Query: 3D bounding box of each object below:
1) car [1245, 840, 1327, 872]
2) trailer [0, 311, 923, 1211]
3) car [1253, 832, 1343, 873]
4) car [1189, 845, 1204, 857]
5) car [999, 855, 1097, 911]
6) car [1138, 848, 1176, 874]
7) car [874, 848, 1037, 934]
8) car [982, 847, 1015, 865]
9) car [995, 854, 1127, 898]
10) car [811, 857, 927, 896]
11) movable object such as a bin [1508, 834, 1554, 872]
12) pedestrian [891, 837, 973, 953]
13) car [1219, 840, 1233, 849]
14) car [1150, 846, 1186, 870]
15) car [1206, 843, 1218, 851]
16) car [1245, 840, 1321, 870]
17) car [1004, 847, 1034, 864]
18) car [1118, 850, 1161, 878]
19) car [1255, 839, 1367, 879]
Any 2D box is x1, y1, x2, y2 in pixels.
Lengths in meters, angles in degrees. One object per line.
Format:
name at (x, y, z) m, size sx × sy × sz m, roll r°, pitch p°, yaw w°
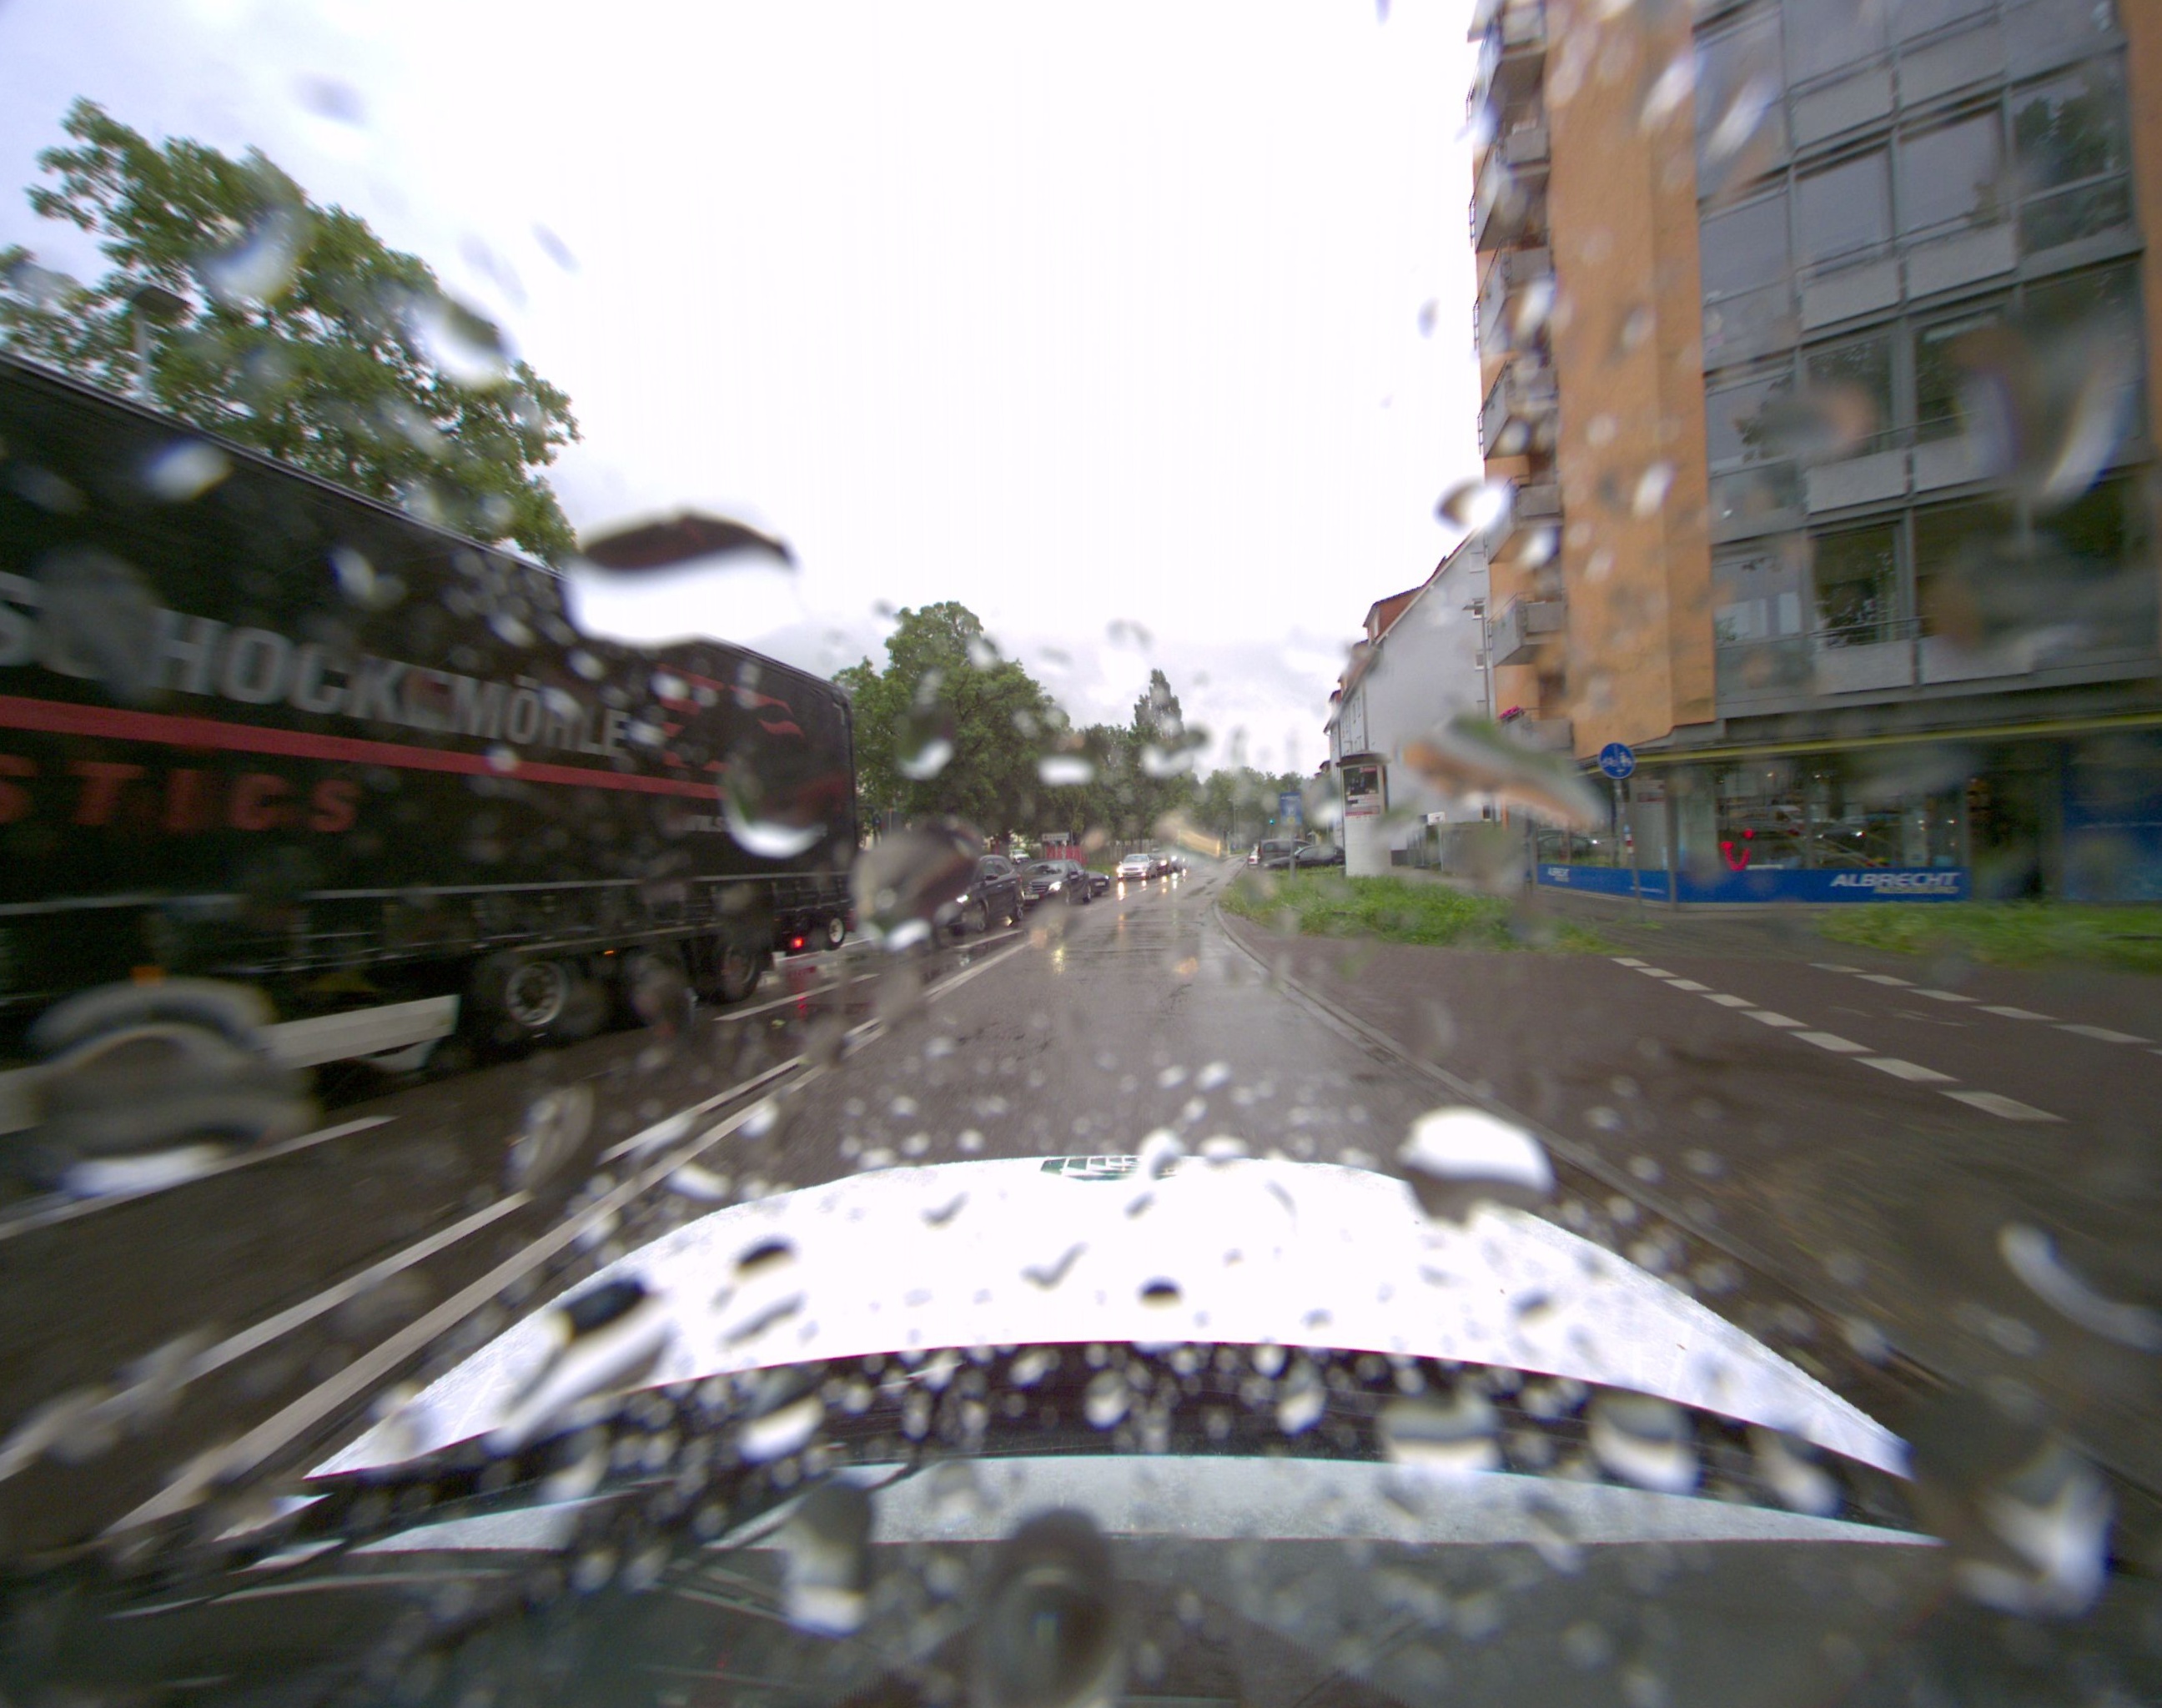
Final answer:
car at (11.076, 0.101, 44.288) m, size 4.163 × 1.568 × 1.894 m, roll -3°, pitch 0°, yaw 10°
trailer at (-6.001, -0.412, 6.266) m, size 3.419 × 4.048 × 15.104 m, roll -3°, pitch 0°, yaw 13°
car at (11.035, -0.064, 41.679) m, size 4.207 × 1.805 × 1.950 m, roll -3°, pitch 0°, yaw 9°
car at (16.318, -0.483, 115.181) m, size 1.767 × 1.529 × 4.007 m, roll -2°, pitch 2°, yaw 5°
car at (-0.885, 0.804, 24.534) m, size 1.714 × 1.361 × 4.354 m, roll -3°, pitch 0°, yaw 14°
car at (4.872, 0.415, 51.651) m, size 1.767 × 1.420 × 4.280 m, roll -3°, pitch 1°, yaw 13°
car at (-2.598, 0.768, 18.273) m, size 1.854 × 1.619 × 4.820 m, roll -3°, pitch -2°, yaw 13°
car at (-8.401, 0.212, 82.355) m, size 2.004 × 1.557 × 3.965 m, roll -2°, pitch -1°, yaw -26°
car at (-0.837, 0.829, 30.608) m, size 4.866 × 1.454 × 2.099 m, roll -2°, pitch 0°, yaw 44°
car at (-8.433, 0.851, 32.373) m, size 4.338 × 1.395 × 2.000 m, roll -1°, pitch 0°, yaw -18°
movable object such as a bin at (17.244, -0.049, 31.243) m, size 1.191 × 1.382 × 1.222 m, roll -2°, pitch 0°, yaw 10°
pedestrian at (-2.507, 0.660, 13.695) m, size 0.876 × 1.843 × 0.980 m, roll -3°, pitch 0°, yaw -43°
car at (34.794, -2.174, 195.417) m, size 1.992 × 2.013 × 3.991 m, roll -2°, pitch 0°, yaw -7°
car at (6.300, 0.246, 58.367) m, size 1.900 × 1.639 × 4.840 m, roll -2°, pitch 0°, yaw 14°
car at (31.459, -1.652, 196.040) m, size 1.740 × 1.689 × 3.987 m, roll -2°, pitch 0°, yaw -9°
car at (11.565, 0.065, 46.864) m, size 4.154 × 1.571 × 1.896 m, roll -2°, pitch 0°, yaw 11°
car at (-6.332, 0.136, 83.362) m, size 1.853 × 1.573 × 3.969 m, roll -2°, pitch -1°, yaw -23°
car at (3.248, 0.526, 44.582) m, size 1.763 × 1.403 × 4.845 m, roll -2°, pitch 0°, yaw 11°
car at (9.889, 0.196, 35.311) m, size 4.502 × 1.470 × 1.990 m, roll -3°, pitch 0°, yaw 12°
